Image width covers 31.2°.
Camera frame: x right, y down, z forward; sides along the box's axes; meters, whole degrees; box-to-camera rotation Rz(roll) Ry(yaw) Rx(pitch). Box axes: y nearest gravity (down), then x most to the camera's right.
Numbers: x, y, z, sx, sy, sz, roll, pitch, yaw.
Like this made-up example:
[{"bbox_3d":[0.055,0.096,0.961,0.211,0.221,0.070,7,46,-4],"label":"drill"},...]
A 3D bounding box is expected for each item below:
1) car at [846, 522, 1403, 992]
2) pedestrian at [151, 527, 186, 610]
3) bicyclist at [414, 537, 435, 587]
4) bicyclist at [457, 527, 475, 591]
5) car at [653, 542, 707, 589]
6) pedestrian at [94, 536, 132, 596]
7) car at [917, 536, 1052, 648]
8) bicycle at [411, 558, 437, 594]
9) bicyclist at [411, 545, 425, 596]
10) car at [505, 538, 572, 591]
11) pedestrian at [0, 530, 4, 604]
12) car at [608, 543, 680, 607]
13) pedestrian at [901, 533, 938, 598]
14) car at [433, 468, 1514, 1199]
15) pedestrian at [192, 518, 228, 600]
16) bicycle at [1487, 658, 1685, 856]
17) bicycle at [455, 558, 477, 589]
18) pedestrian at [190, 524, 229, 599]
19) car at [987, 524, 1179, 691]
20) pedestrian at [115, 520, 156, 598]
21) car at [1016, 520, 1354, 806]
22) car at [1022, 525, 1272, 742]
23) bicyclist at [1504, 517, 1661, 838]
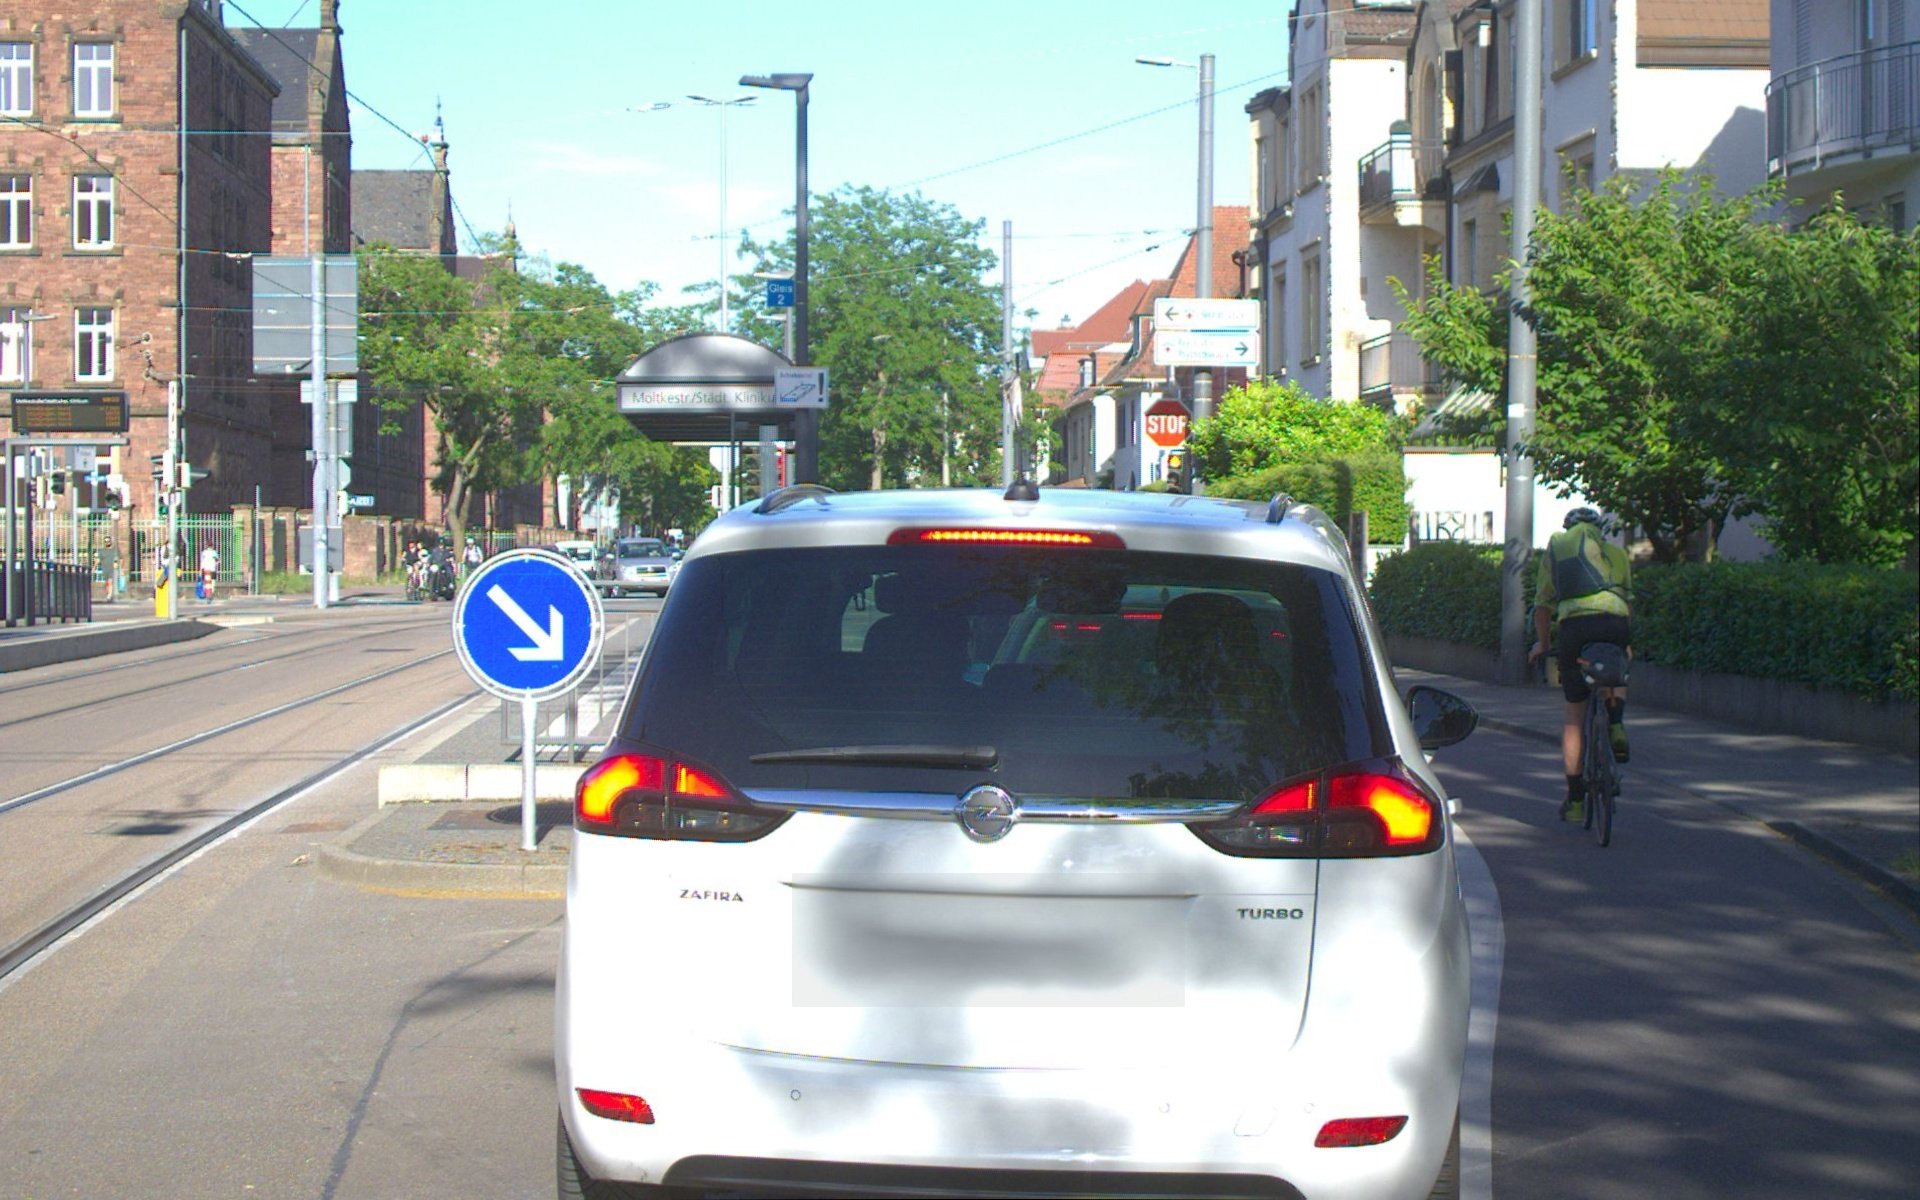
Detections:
[{"bbox_3d":[0.786,0.494,13.770,1.907,1.592,3.999,0,1,7],"label":"car"},{"bbox_3d":[-19.395,-0.780,84.257,0.794,2.007,1.047,1,0,-15],"label":"pedestrian"},{"bbox_3d":[-15.877,-1.118,101.894,0.531,1.472,0.572,1,0,-1],"label":"bicyclist"},{"bbox_3d":[-15.609,-1.281,108.592,0.488,2.007,0.502,1,0,-1],"label":"bicyclist"},{"bbox_3d":[-10.499,-1.309,129.064,1.746,1.710,4.000,1,1,-1],"label":"car"},{"bbox_3d":[-22.595,-0.903,91.685,0.655,1.606,0.710,1,0,31],"label":"pedestrian"},{"bbox_3d":[0.337,-0.152,53.085,1.907,1.656,4.001,0,1,-2],"label":"car"},{"bbox_3d":[-15.893,-0.714,101.990,0.509,1.073,1.739,1,1,-1],"label":"bicycle"},{"bbox_3d":[-15.443,-0.847,97.969,0.313,1.439,0.384,1,0,-1],"label":"bicyclist"},{"bbox_3d":[-13.853,-1.165,113.170,1.746,1.710,4.000,1,1,-1],"label":"car"},{"bbox_3d":[-23.249,-0.795,82.109,0.766,1.768,0.721,1,0,-17],"label":"pedestrian"},{"bbox_3d":[-8.739,-0.691,94.837,1.746,1.710,4.001,1,1,-9],"label":"car"},{"bbox_3d":[-1.193,-1.019,101.654,0.809,1.894,0.742,1,0,27],"label":"pedestrian"},{"bbox_3d":[0.238,0.561,8.025,1.907,1.656,3.999,0,1,7],"label":"car"},{"bbox_3d":[-18.533,-1.007,84.968,0.794,2.007,0.721,1,0,-17],"label":"pedestrian"},{"bbox_3d":[3.266,0.798,18.090,0.676,0.922,1.885,0,1,-1],"label":"bicycle"},{"bbox_3d":[-15.620,-0.845,108.655,0.487,0.968,1.405,1,1,0],"label":"bicycle"},{"bbox_3d":[-20.071,-1.026,91.941,0.795,2.007,0.721,1,0,-30],"label":"pedestrian"},{"bbox_3d":[1.245,0.035,36.107,1.907,1.656,4.000,0,1,1],"label":"car"},{"bbox_3d":[-21.184,-1.051,88.309,0.795,2.007,0.720,1,0,-34],"label":"pedestrian"},{"bbox_3d":[1.506,0.320,21.610,1.907,1.619,3.999,0,1,7],"label":"car"},{"bbox_3d":[1.569,0.217,28.270,1.907,1.656,4.000,0,1,4],"label":"car"},{"bbox_3d":[3.262,0.392,18.051,0.676,1.652,0.745,0,1,-1],"label":"bicyclist"}]
